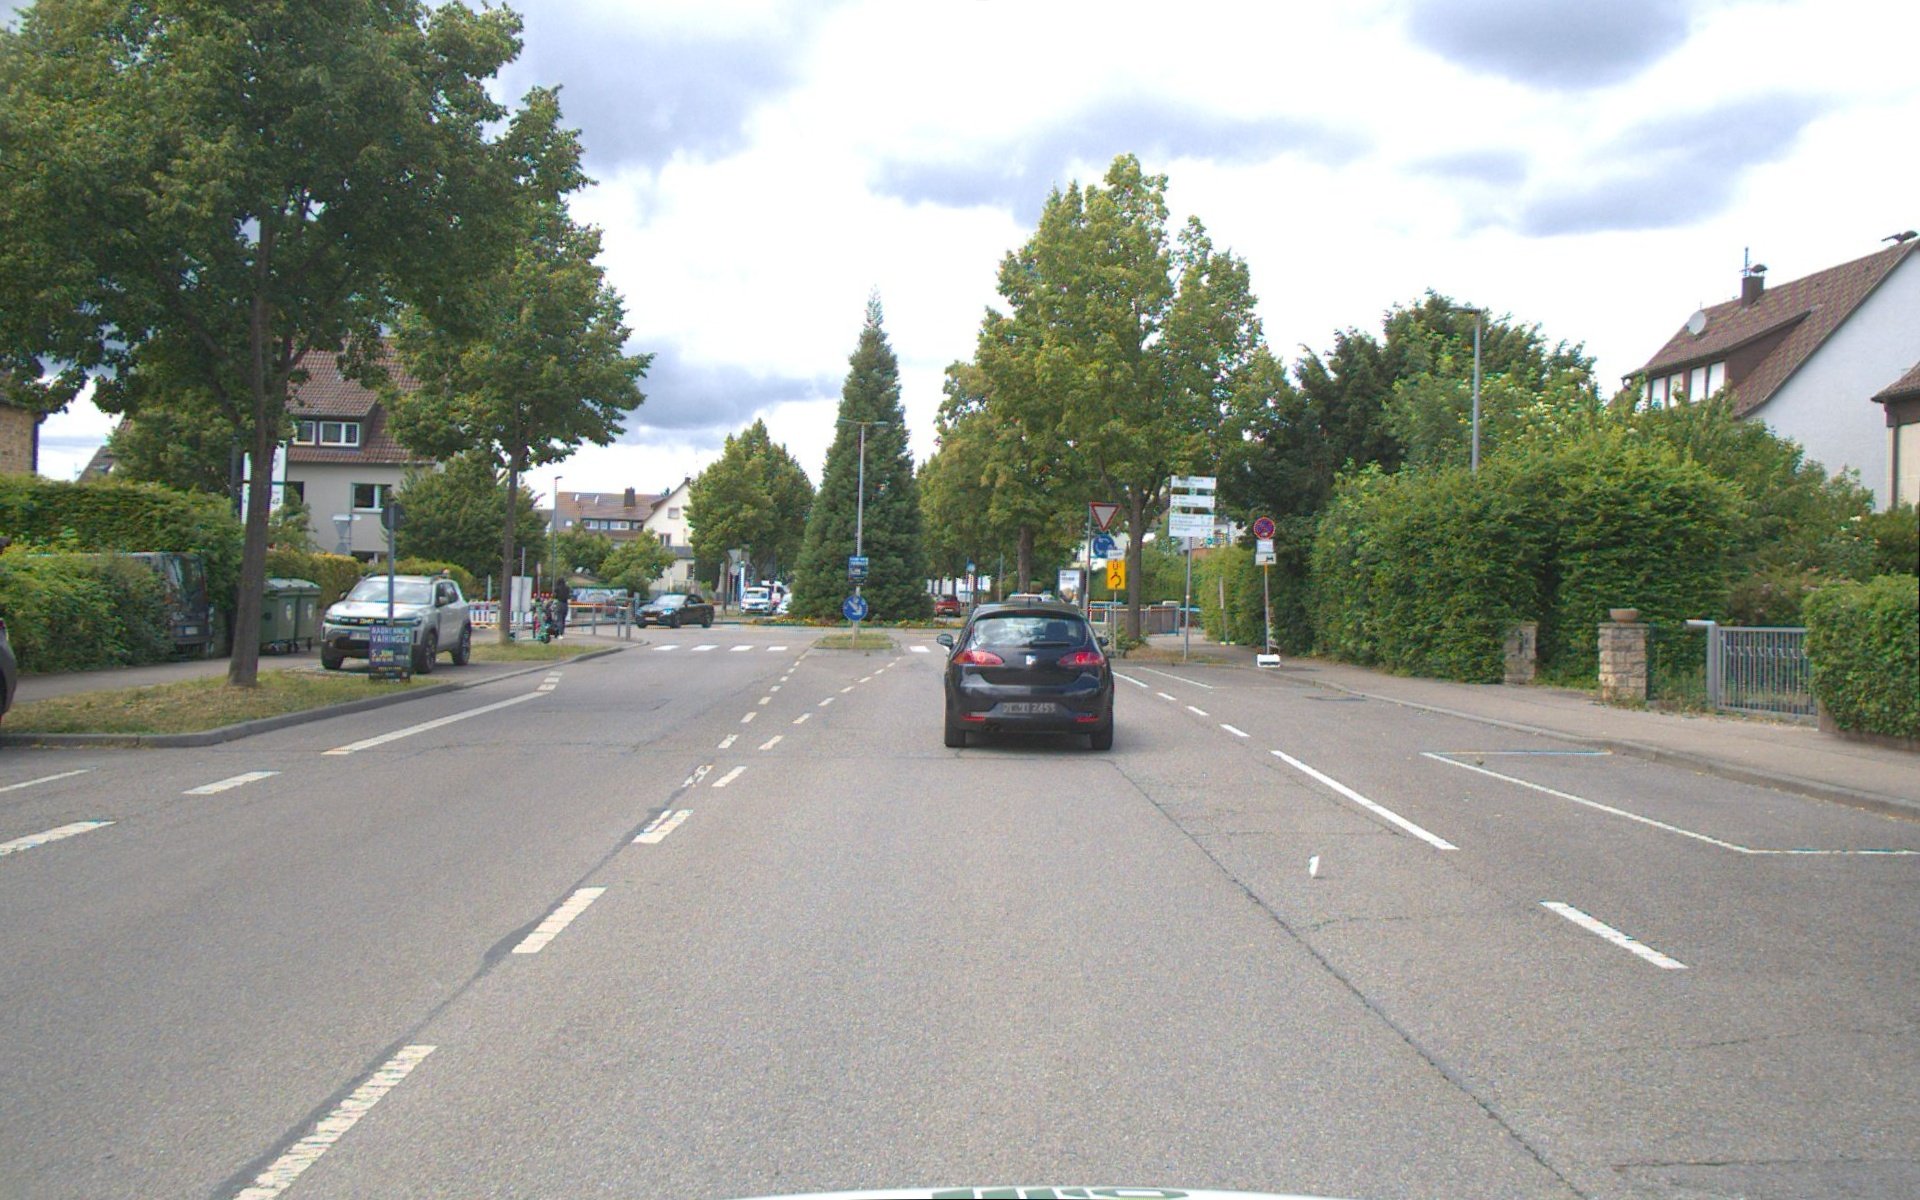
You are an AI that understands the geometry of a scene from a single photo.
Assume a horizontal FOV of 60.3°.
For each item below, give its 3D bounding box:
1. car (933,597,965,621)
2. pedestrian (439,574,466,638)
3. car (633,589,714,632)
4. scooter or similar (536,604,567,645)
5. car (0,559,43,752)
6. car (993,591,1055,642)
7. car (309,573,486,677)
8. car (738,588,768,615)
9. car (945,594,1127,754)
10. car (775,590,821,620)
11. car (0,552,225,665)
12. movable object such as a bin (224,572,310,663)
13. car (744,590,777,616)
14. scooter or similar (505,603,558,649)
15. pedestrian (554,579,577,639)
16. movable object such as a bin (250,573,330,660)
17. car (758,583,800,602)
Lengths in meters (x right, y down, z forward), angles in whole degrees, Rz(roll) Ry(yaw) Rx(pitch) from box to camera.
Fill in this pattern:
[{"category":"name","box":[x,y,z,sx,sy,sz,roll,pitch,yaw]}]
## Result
[{"category":"car","box":[-0.732,0.607,109.132,1.449,1.515,3.372,1,0,-11]},{"category":"pedestrian","box":[-14.456,0.176,47.096,0.557,1.815,0.532,1,0,-41]},{"category":"car","box":[-11.495,0.411,66.495,1.536,1.663,3.622,1,0,21]},{"category":"scooter or similar","box":[-11.696,0.696,47.326,0.403,1.114,0.955,4,-1,-41]},{"category":"car","box":[-9.464,0.487,13.400,1.690,1.755,4.562,1,0,-3]},{"category":"car","box":[2.143,0.555,56.649,1.953,1.641,4.000,1,0,0]},{"category":"car","box":[-10.015,0.414,29.776,1.823,1.682,4.292,1,0,-2]},{"category":"car","box":[-15.660,0.078,125.192,1.990,2.005,3.997,0,0,-4]},{"category":"car","box":[0.710,0.711,17.805,1.697,1.512,3.999,1,0,-1]},{"category":"car","box":[-8.737,0.266,89.653,1.830,1.588,4.261,1,0,3]},{"category":"car","box":[-15.677,0.147,29.819,3.906,1.924,1.999,1,0,-2]},{"category":"movable object such as a bin","box":[-13.506,0.340,32.265,1.182,1.680,0.997,3,-1,-4]},{"category":"car","box":[-12.917,0.179,107.151,1.761,1.629,3.998,0,0,-2]},{"category":"scooter or similar","box":[-10.926,0.665,42.195,1.272,1.158,0.343,1,0,-34]},{"category":"pedestrian","box":[-11.161,0.255,46.800,0.477,1.699,0.509,1,0,-35]},{"category":"movable object such as a bin","box":[-13.736,0.337,33.938,1.182,1.680,0.997,3,-1,-4]},{"category":"car","box":[-18.836,-0.789,172.251,3.903,2.005,2.038,0,0,17]}]
